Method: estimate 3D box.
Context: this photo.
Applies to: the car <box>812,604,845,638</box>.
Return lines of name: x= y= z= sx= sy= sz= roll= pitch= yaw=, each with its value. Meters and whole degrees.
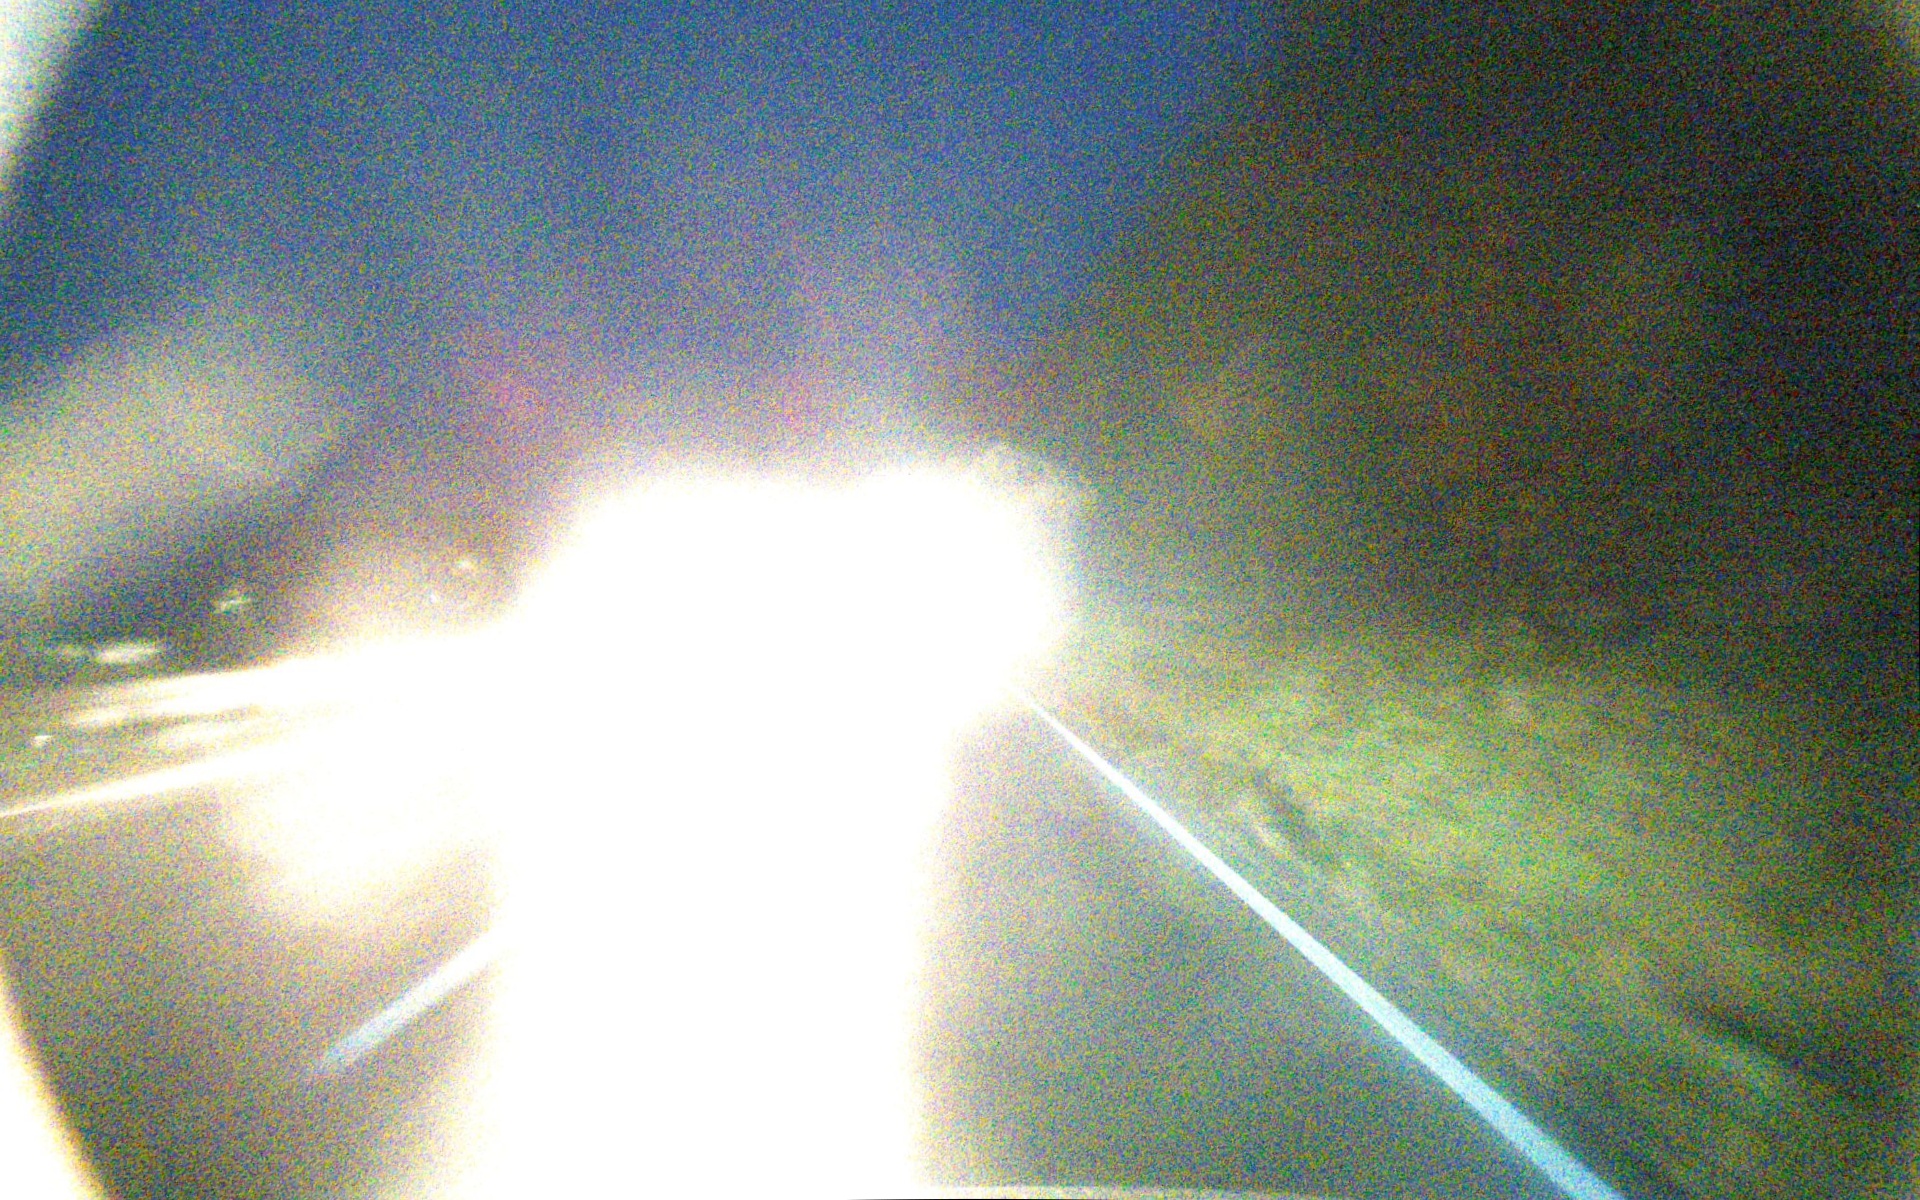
car: x=-6.841 y=1.091 z=86.536 sx=1.454 sy=1.644 sz=3.559 roll=3 pitch=0 yaw=-2

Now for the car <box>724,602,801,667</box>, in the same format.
car: x=-4.976 y=0.840 z=42.071 sx=1.659 sy=1.546 sz=3.860 roll=1 pitch=0 yaw=-3

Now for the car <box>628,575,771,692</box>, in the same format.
car: x=-4.121 y=0.503 z=26.818 sx=1.620 sy=1.712 sz=4.519 roll=1 pitch=0 yaw=-1
